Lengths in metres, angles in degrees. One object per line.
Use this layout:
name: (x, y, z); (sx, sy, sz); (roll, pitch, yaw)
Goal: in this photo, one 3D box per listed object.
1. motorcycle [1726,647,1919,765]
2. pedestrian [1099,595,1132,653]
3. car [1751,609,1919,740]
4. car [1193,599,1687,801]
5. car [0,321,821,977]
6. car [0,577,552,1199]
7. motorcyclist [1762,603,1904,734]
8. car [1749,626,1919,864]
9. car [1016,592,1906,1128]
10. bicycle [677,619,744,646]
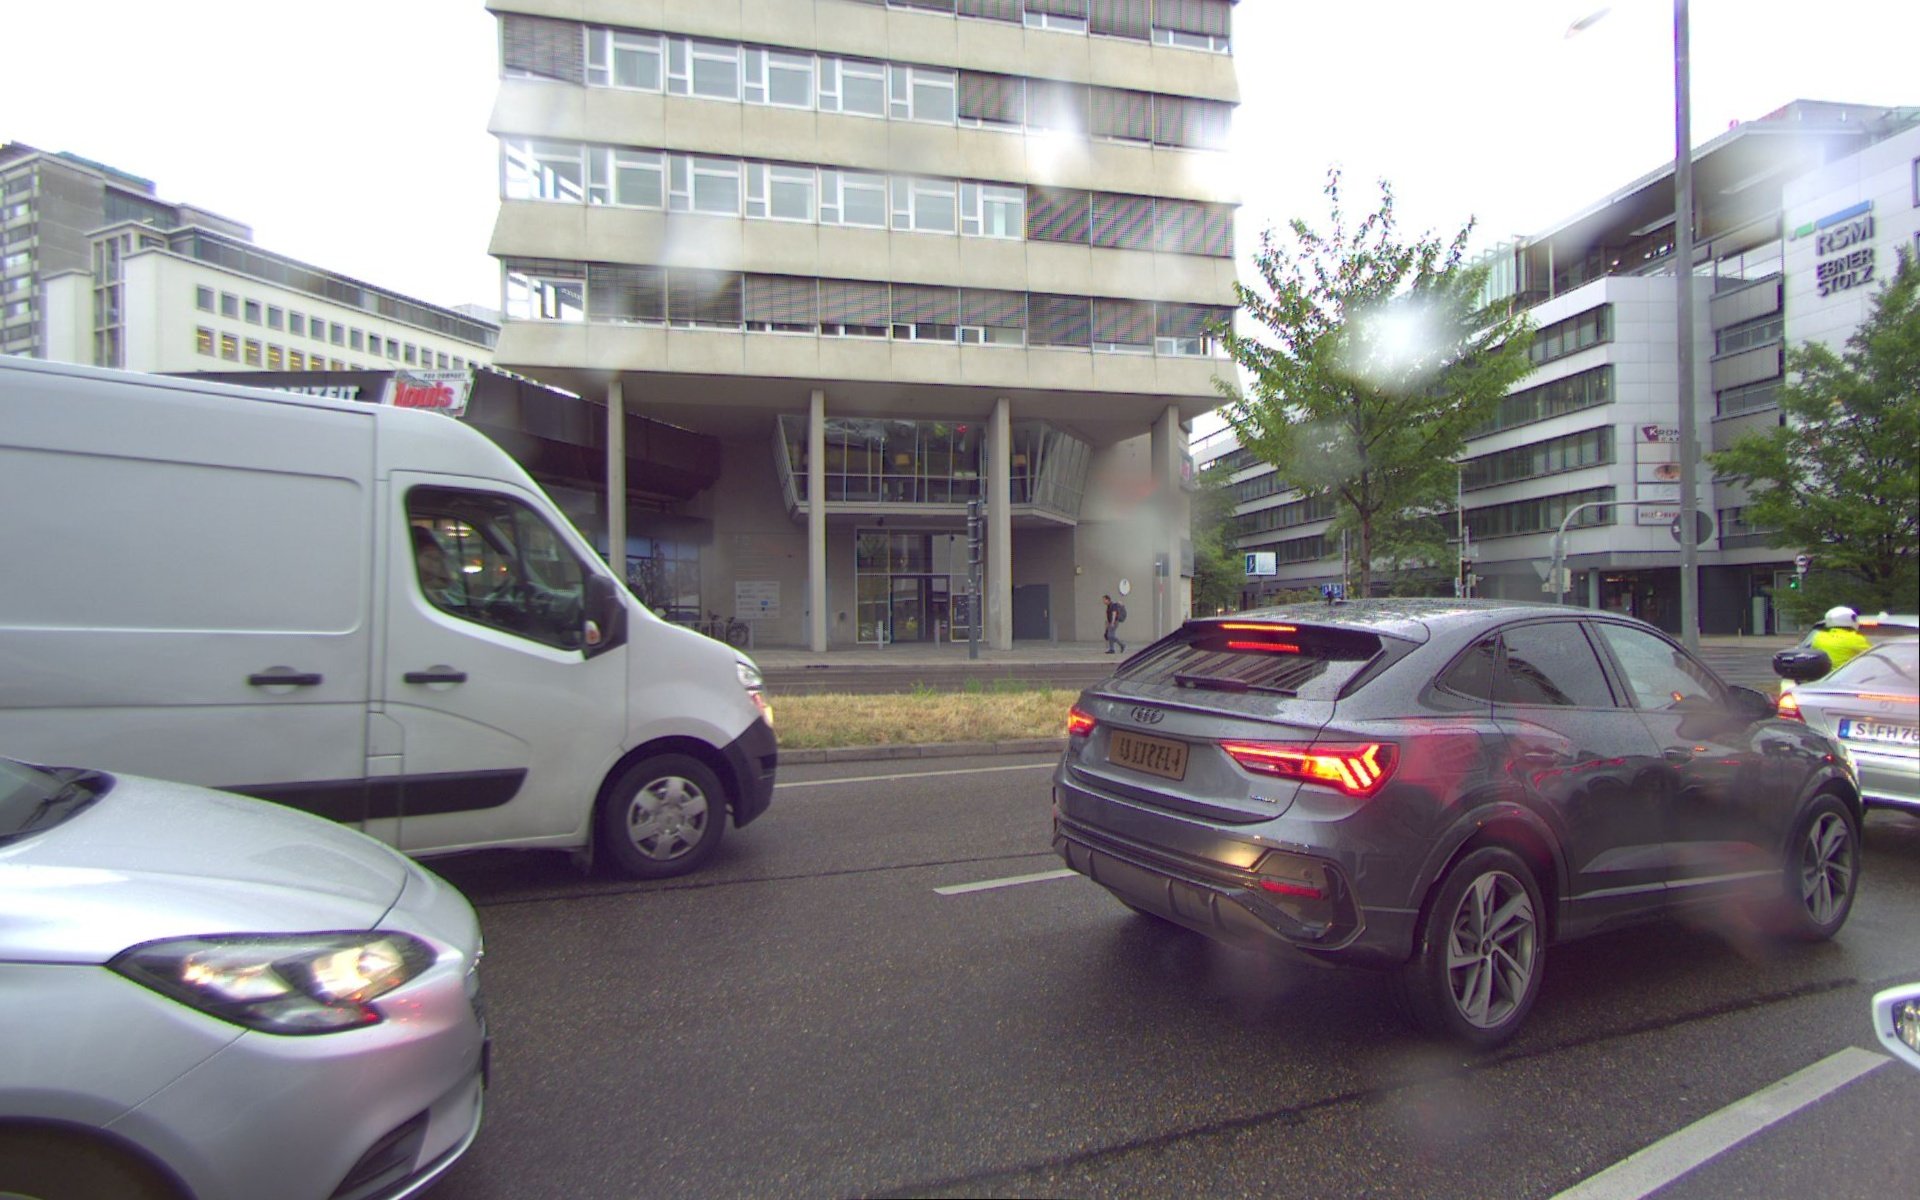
motorcycle: (9.743, 1.164, 11.336); (1.998, 1.200, 0.799); (2, 0, -21)
pedestrian: (4.658, 0.716, 30.105); (0.751, 1.706, 0.677); (1, 0, -16)
car: (12.630, 0.932, 13.210); (3.940, 1.506, 1.704); (2, 0, -20)
car: (4.702, 0.812, 9.708); (4.716, 1.554, 1.858); (1, 0, -28)
car: (-3.576, 0.189, 4.995); (5.424, 2.473, 1.934); (1, 0, -35)
car: (-2.868, 0.669, 1.700); (3.831, 1.455, 1.639); (1, 0, -32)
motorcyclist: (9.855, 0.753, 11.353); (1.102, 1.398, 0.769); (2, 0, -21)
car: (7.662, 0.955, 7.098); (4.052, 1.426, 1.566); (2, 0, -24)
car: (2.475, 0.772, 4.663); (4.220, 1.542, 1.640); (1, 0, -30)
bicycle: (-8.434, 1.093, 33.998); (2.165, 0.871, 0.456); (2, 0, -31)
